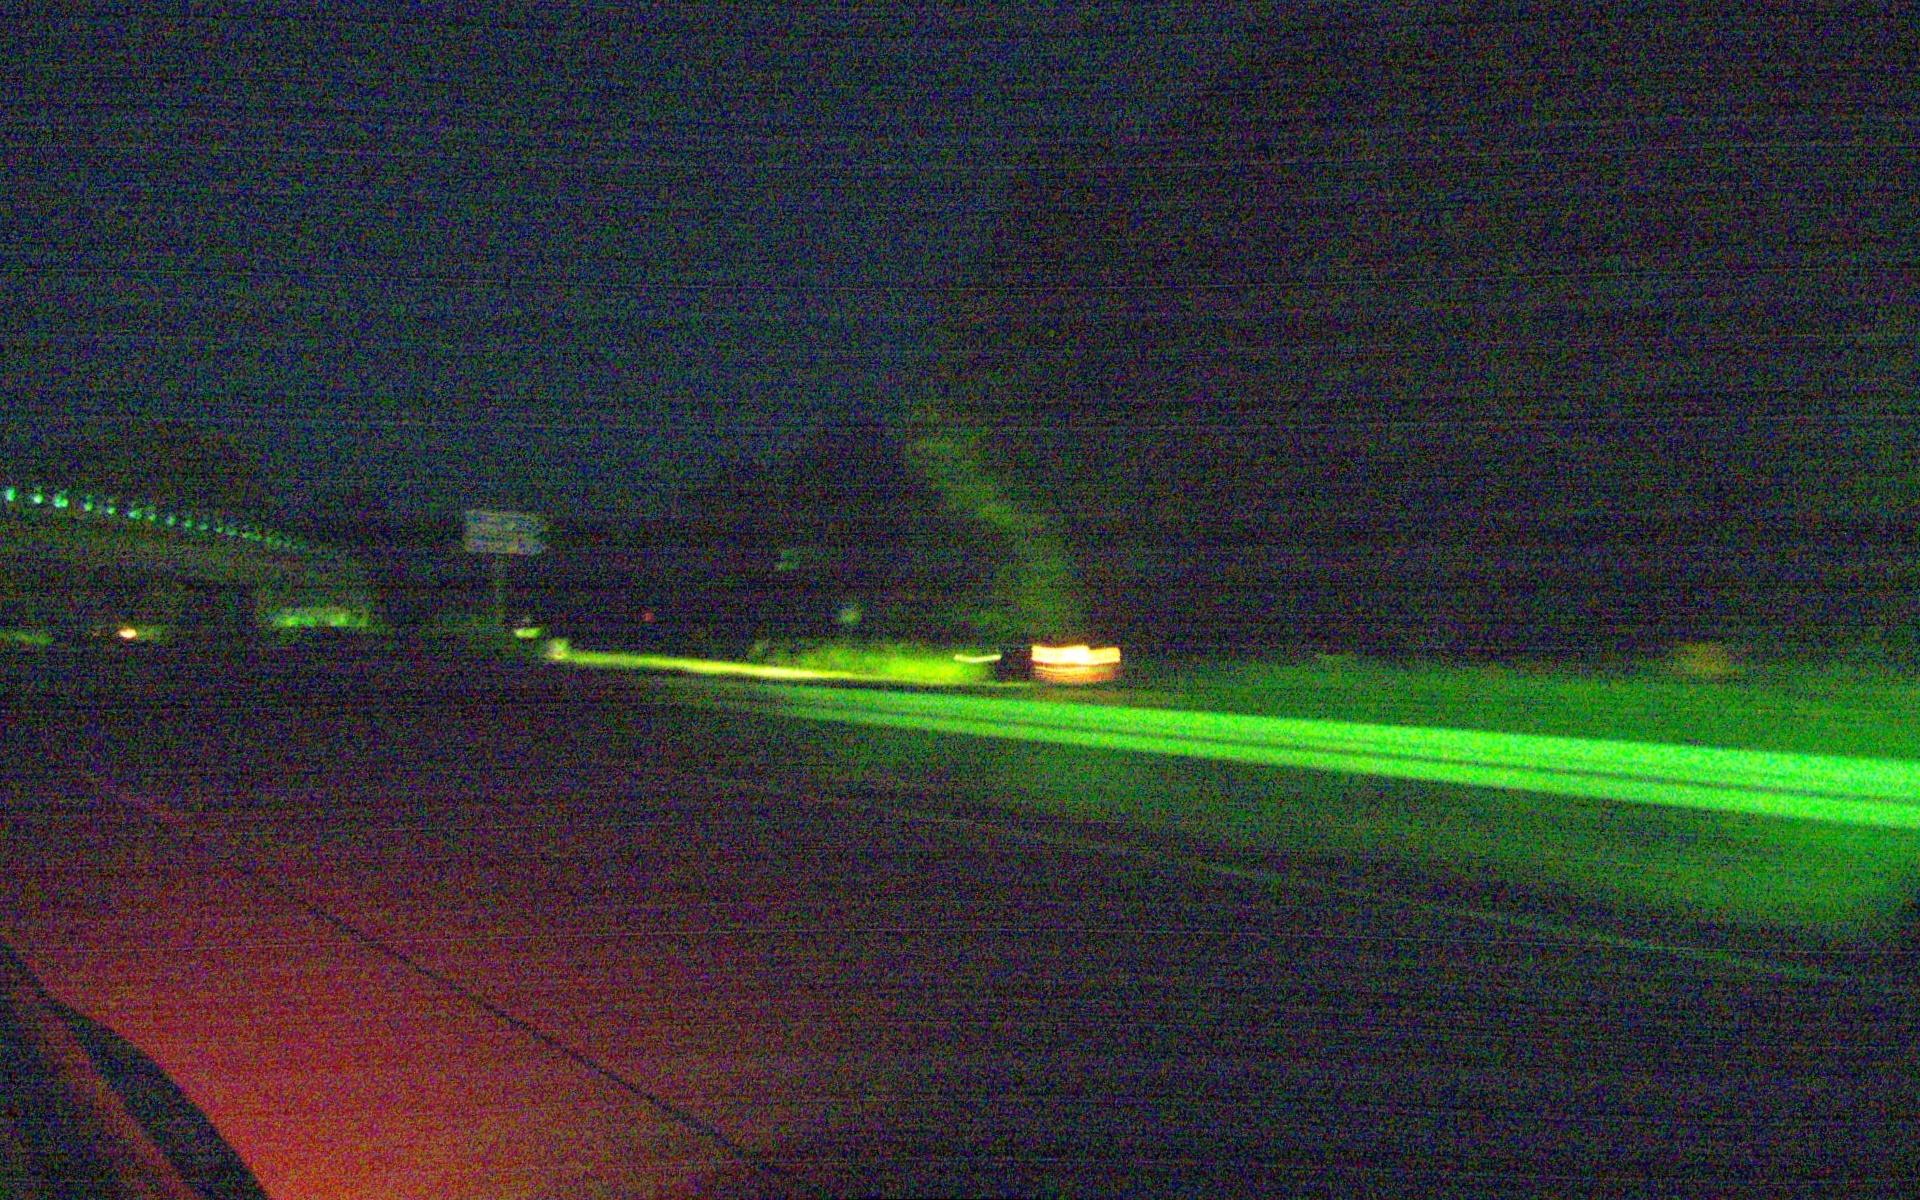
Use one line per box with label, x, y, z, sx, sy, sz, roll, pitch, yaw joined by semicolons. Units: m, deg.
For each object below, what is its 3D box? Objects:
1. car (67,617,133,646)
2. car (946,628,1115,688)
car;-51.623;1.844;60.723;4.524;1.670;1.976;-1;-1;35
car;1.805;1.511;27.008;1.800;1.453;4.479;3;-4;-44
